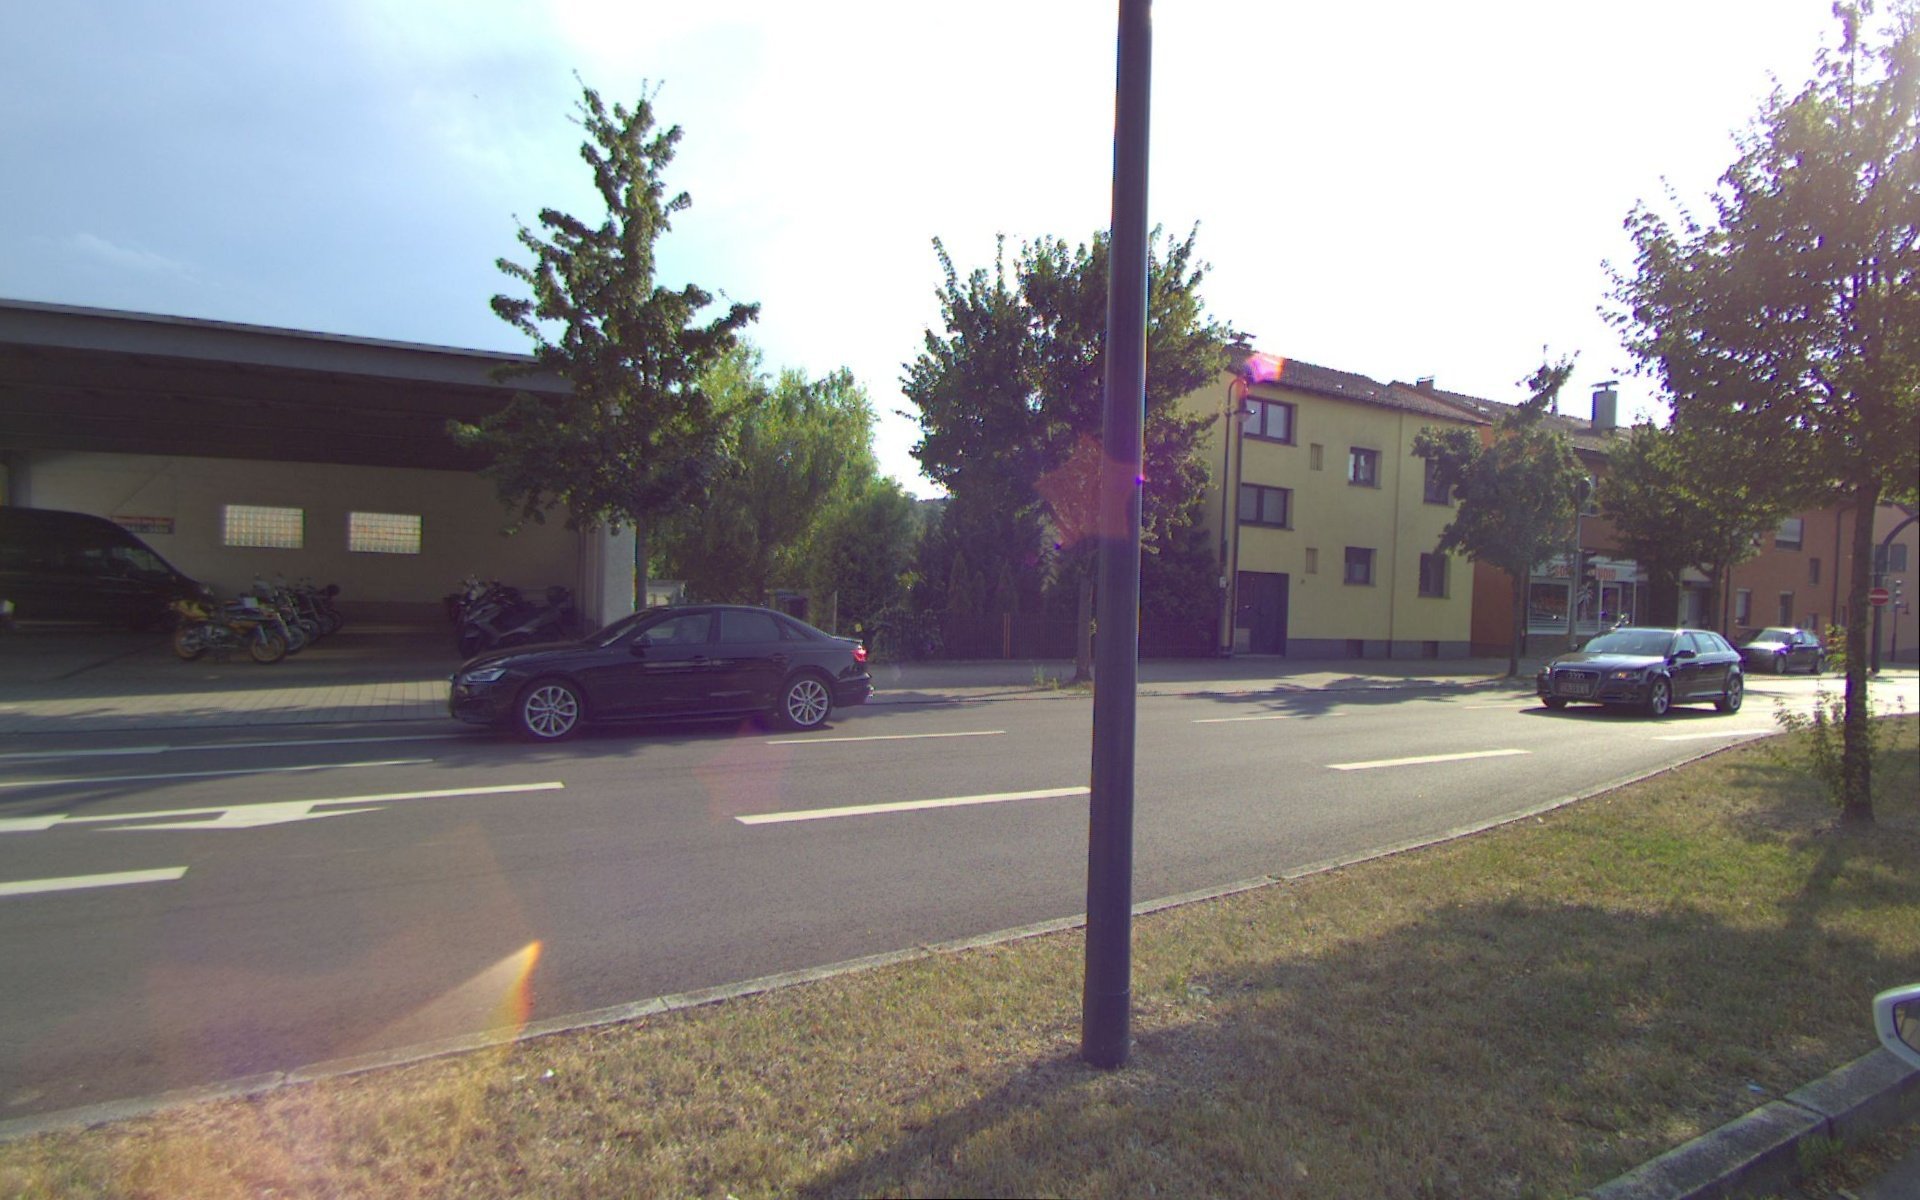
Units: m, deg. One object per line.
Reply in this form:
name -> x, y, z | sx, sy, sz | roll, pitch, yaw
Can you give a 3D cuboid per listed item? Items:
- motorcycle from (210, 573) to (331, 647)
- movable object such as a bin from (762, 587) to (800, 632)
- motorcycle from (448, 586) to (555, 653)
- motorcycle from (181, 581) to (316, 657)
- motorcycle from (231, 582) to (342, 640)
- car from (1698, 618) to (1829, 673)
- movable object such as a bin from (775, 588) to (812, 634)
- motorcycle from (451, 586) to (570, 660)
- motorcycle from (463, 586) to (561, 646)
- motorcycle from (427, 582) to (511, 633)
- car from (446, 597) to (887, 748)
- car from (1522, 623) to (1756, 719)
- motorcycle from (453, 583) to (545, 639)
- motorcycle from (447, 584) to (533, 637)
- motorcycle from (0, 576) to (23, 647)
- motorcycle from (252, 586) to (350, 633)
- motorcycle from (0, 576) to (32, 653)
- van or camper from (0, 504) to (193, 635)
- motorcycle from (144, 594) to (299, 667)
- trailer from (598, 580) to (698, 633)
motorcycle -> -14.500, 0.209, 21.142 | 2.111, 1.468, 0.594 | 1, 0, 0
movable object such as a bin -> -4.588, 0.241, 25.718 | 0.712, 1.101, 0.727 | 1, 3, -30
motorcycle -> -9.512, 0.400, 20.930 | 0.553, 1.325, 2.086 | 1, 0, 30
motorcycle -> -13.334, 0.358, 18.855 | 2.111, 1.347, 0.563 | 1, 0, 0
motorcycle -> -15.638, 0.247, 23.344 | 2.111, 1.275, 0.647 | 1, 0, 0
car -> 26.183, 1.453, 32.714 | 3.949, 1.573, 1.836 | 1, 2, -27
movable object such as a bin -> -4.140, 0.270, 24.944 | 0.688, 1.101, 0.727 | 1, 3, -30
motorcycle -> -8.456, 0.425, 19.009 | 0.553, 1.325, 2.112 | 1, 0, 30
motorcycle -> -10.300, 0.366, 23.182 | 0.612, 1.325, 2.086 | 1, 0, 30
motorcycle -> -13.317, 0.212, 27.295 | 0.553, 1.325, 2.086 | 1, 0, 30
car -> -3.306, 0.741, 11.591 | 4.590, 1.440, 1.834 | 1, 0, -30
car -> 11.524, 1.130, 16.986 | 4.141, 1.405, 1.637 | 1, 0, -30
motorcycle -> -11.343, 0.273, 24.786 | 0.573, 1.325, 2.086 | 1, 0, 30
motorcycle -> -12.315, 0.281, 26.405 | 0.553, 1.325, 2.086 | 1, 0, 30
motorcycle -> -18.442, 0.199, 18.224 | 0.637, 1.329, 2.007 | 1, 0, 23
motorcycle -> -16.814, 0.246, 25.652 | 2.111, 1.138, 0.563 | 1, 0, 0
motorcycle -> -17.047, 0.233, 16.896 | 0.637, 1.329, 2.007 | 1, 0, 23
van or camper -> -20.274, -0.638, 22.104 | 1.963, 2.716, 5.033 | 1, 0, 26
motorcycle -> -12.285, 0.499, 16.744 | 2.111, 1.139, 0.631 | 1, 0, 0
trailer -> -7.902, 0.119, 25.722 | 1.692, 1.199, 3.594 | 1, 1, -5
